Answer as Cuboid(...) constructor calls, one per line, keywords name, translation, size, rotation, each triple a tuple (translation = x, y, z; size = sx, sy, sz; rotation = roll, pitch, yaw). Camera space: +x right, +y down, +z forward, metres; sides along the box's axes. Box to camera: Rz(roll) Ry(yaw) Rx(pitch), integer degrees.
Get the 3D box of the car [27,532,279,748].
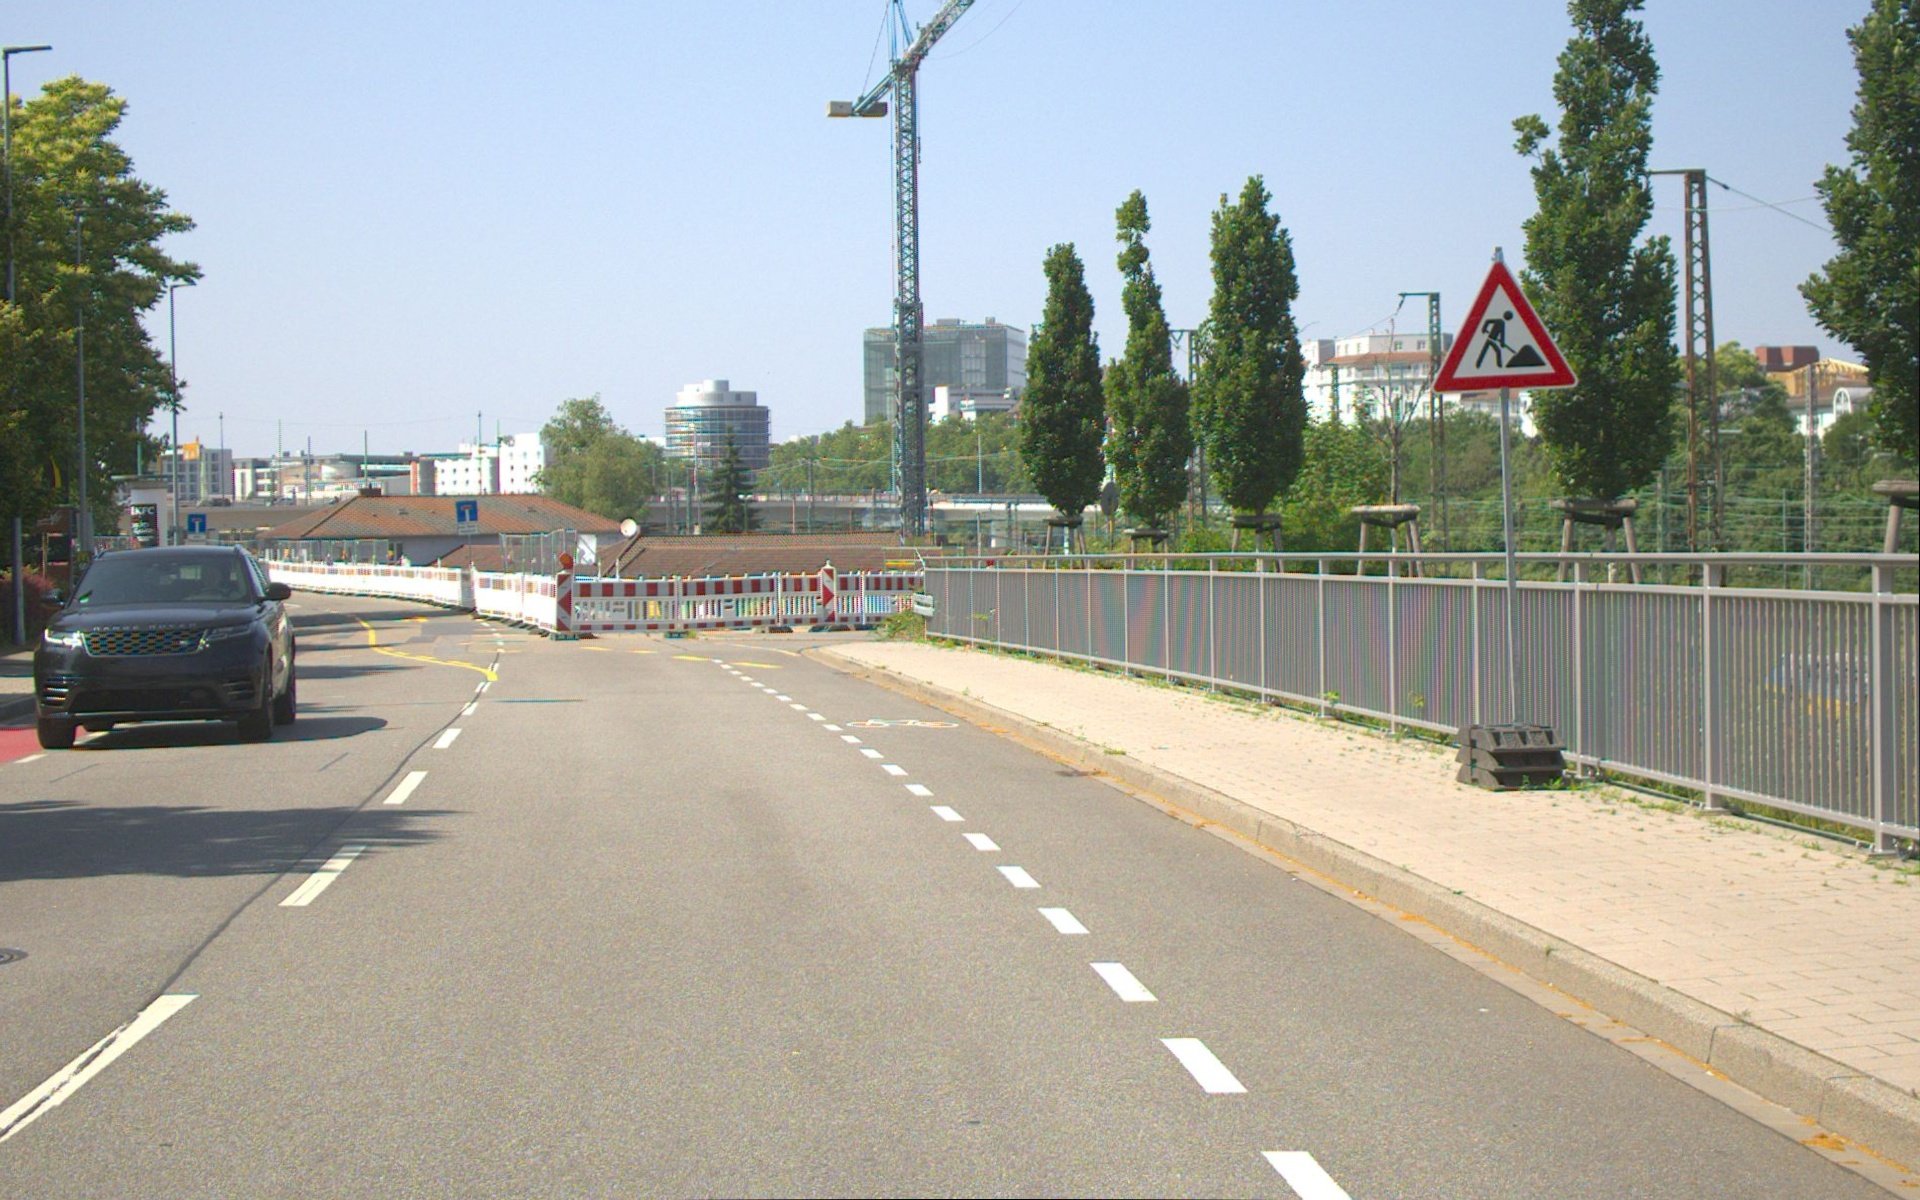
Cuboid(name="car", translation=(-7.001, 0.274, 30.115), size=(1.949, 1.689, 4.614), rotation=(-2, 1, -12))
